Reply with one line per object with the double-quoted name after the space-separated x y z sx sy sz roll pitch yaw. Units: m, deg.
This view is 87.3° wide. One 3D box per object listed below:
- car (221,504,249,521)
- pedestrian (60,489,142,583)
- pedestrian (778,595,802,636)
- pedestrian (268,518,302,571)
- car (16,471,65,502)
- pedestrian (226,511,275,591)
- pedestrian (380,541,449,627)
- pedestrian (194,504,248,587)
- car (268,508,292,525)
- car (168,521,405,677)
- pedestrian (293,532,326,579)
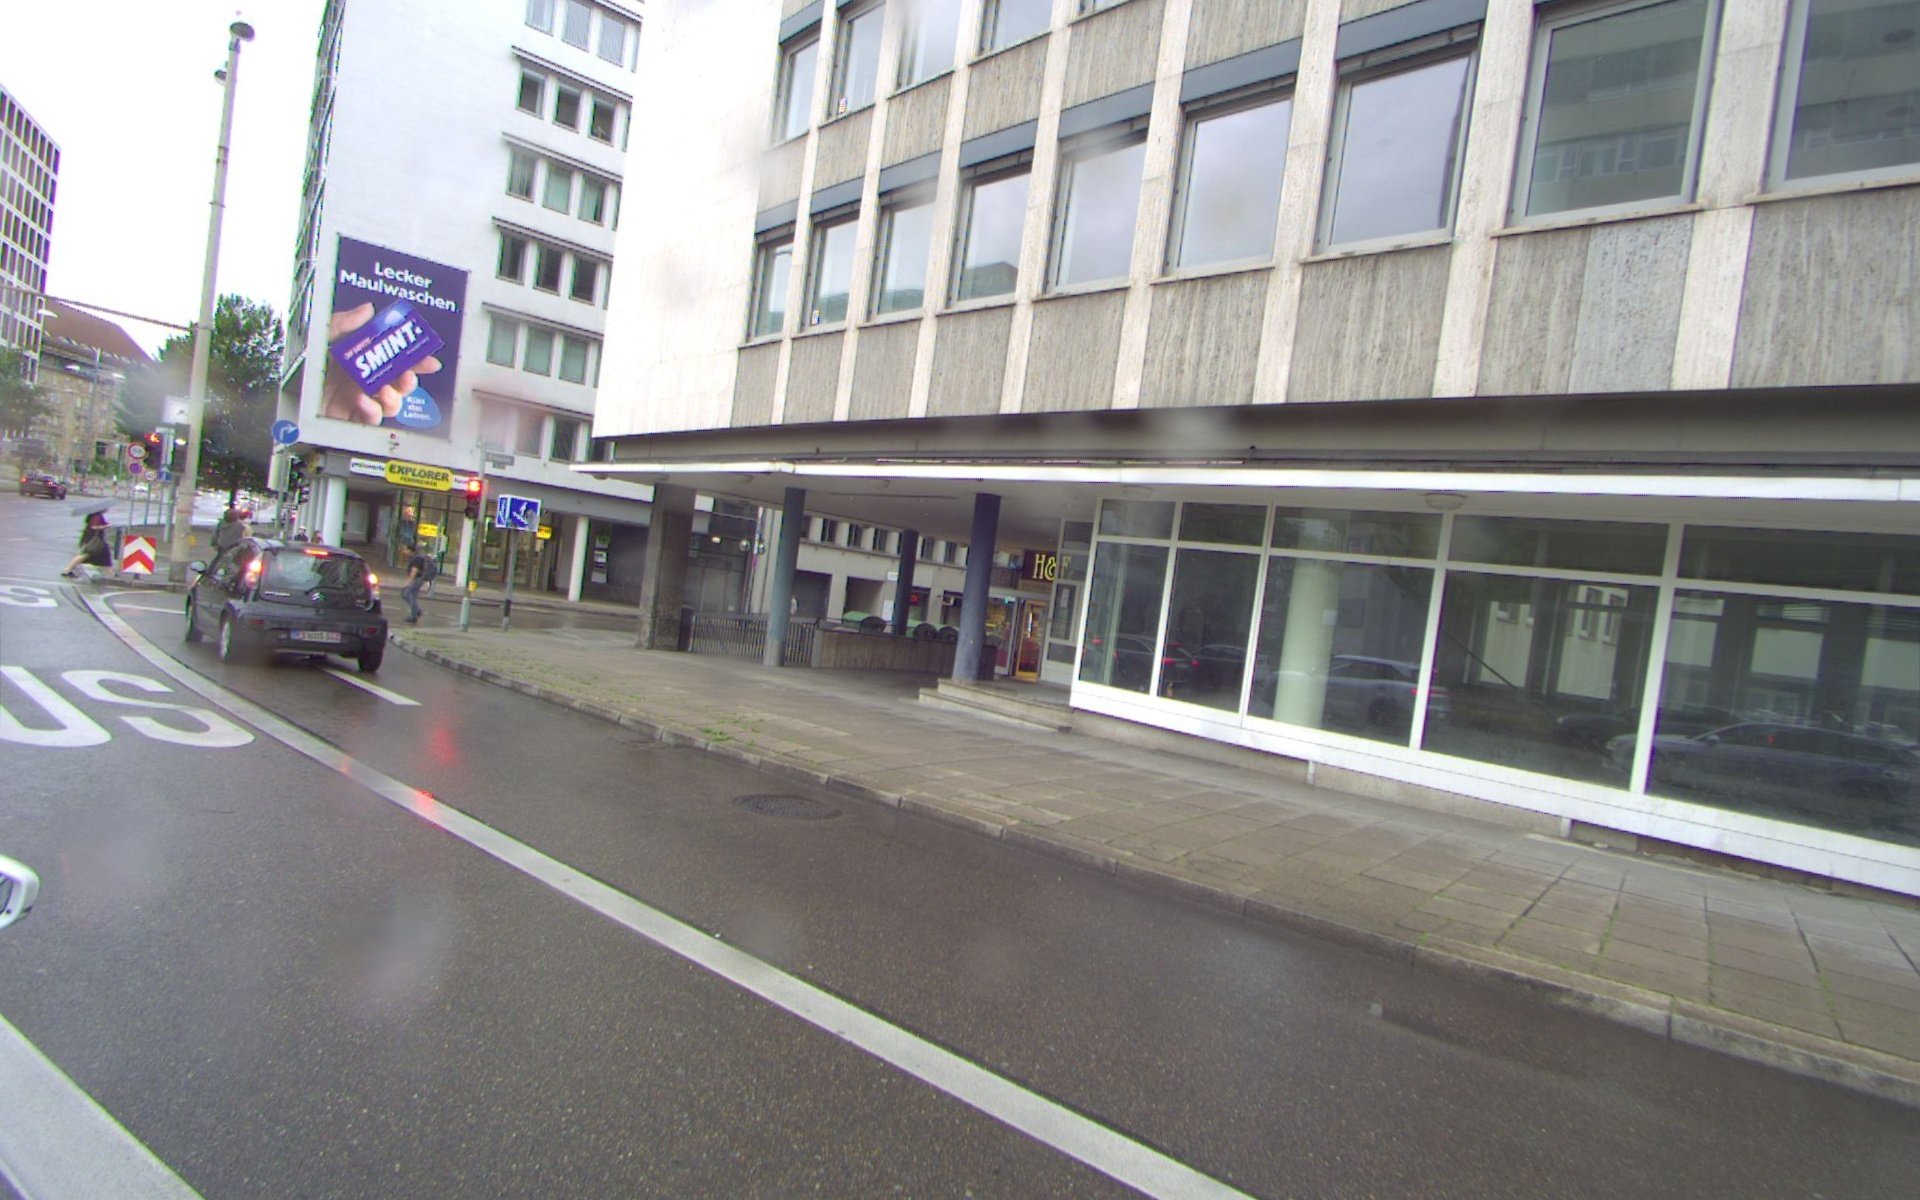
-82.176 -9.902 114.027 1.896 1.527 4.324 9 -2 -29 "car"
-17.628 -1.296 20.655 0.717 1.759 0.924 7 0 27 "pedestrian"
-7.995 0.708 47.333 0.677 1.820 0.722 7 0 -37 "pedestrian"
-23.195 -1.911 34.582 0.725 1.688 0.682 7 0 -43 "pedestrian"
-60.941 -7.522 66.744 1.986 1.570 3.957 9 -2 -39 "car"
-17.291 -1.202 24.511 0.725 1.820 0.730 7 1 -43 "pedestrian"
-12.285 -0.346 22.702 1.002 1.776 0.793 7 -1 -14 "pedestrian"
-17.436 -1.287 23.740 0.810 1.820 0.702 7 0 -43 "pedestrian"
-86.308 -10.582 127.735 2.032 1.786 4.324 9 -2 -29 "car"
-8.516 -0.055 12.616 3.437 1.490 1.659 7 -1 44 "car"
-22.644 -1.556 35.024 0.725 1.542 0.751 7 -1 -43 "pedestrian"
